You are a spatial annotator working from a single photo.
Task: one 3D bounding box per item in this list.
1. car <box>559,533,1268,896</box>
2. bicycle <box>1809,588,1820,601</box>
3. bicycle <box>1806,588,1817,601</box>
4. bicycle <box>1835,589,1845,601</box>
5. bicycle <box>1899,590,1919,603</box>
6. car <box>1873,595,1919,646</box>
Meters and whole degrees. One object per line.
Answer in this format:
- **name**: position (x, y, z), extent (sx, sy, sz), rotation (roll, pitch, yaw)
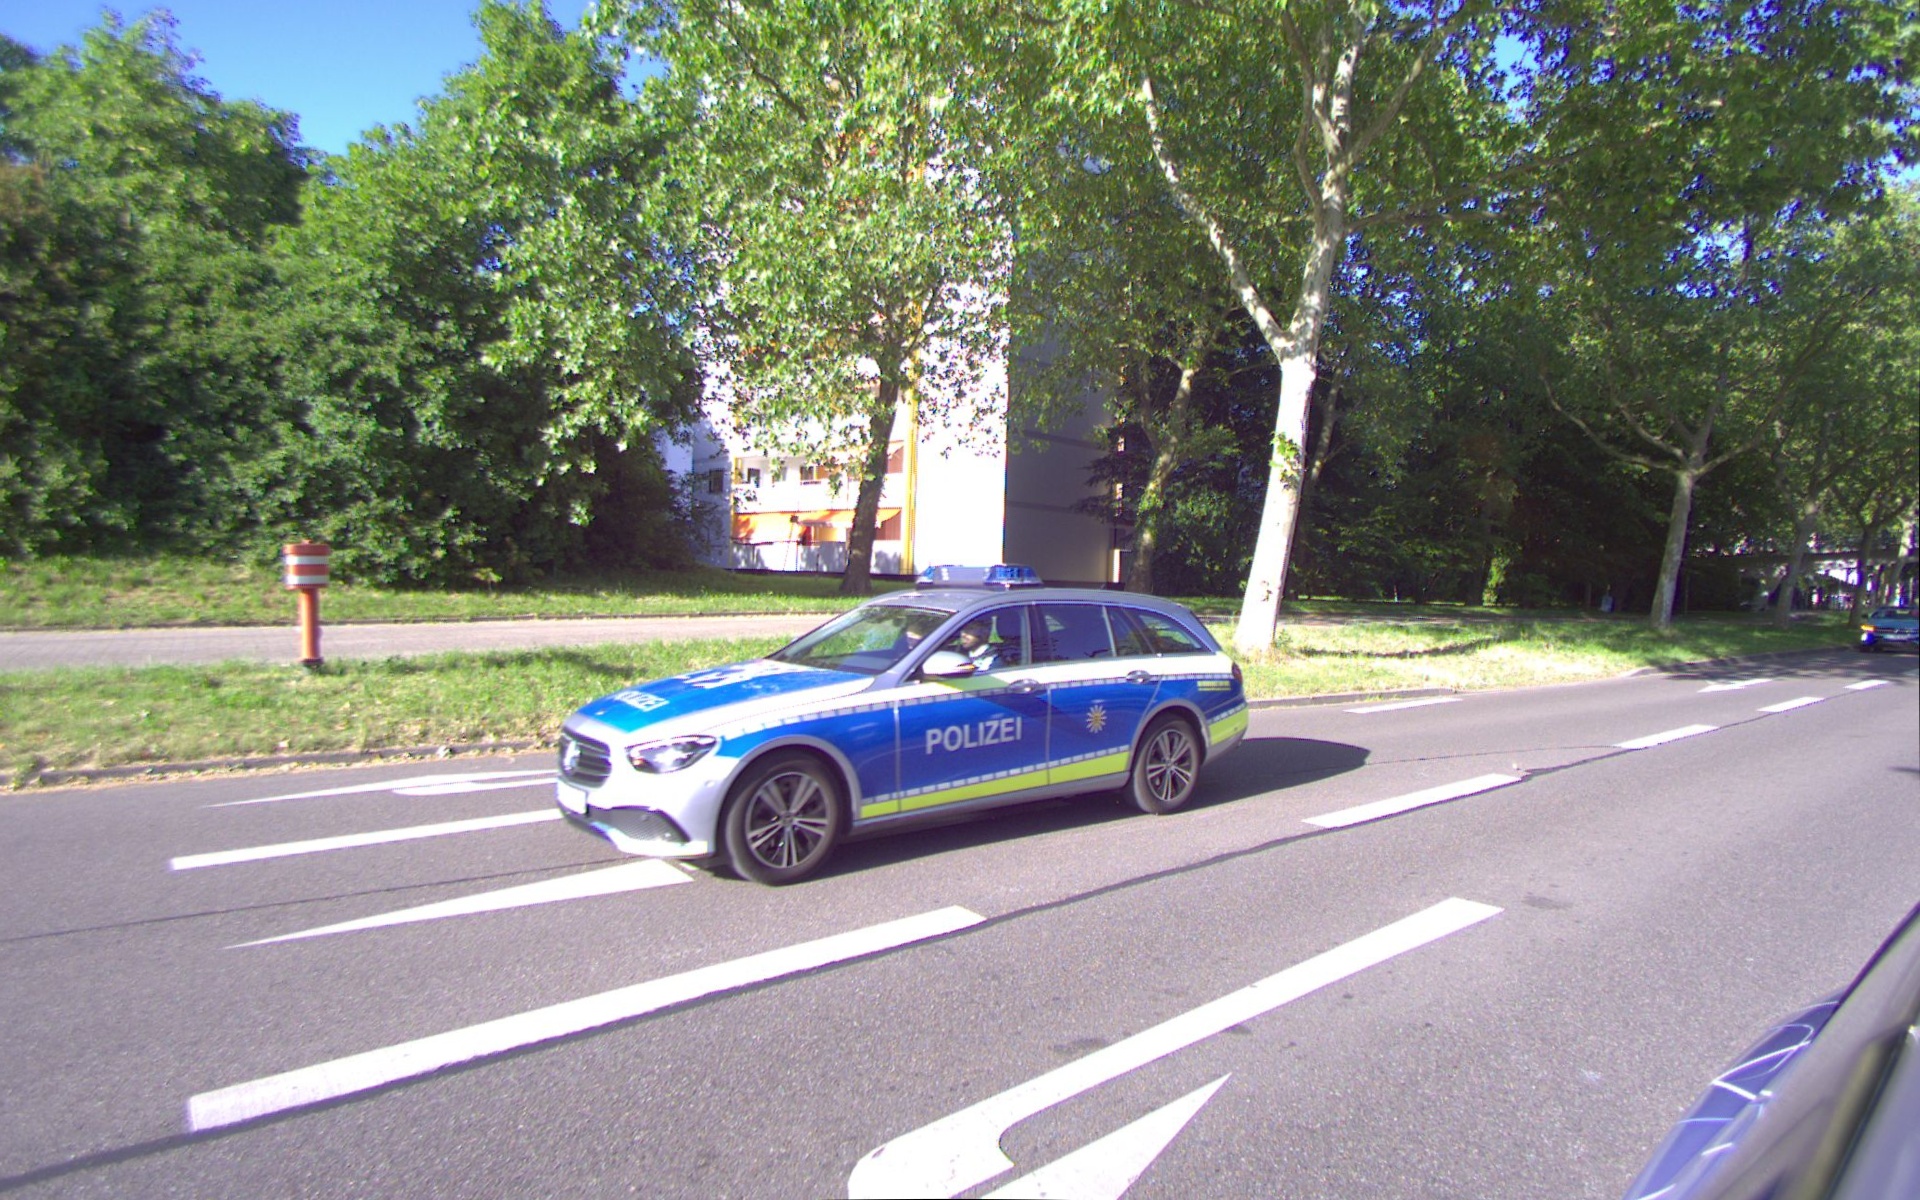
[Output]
- **car**: position (-0.102, 0.519, 6.722), extent (4.418, 1.653, 1.898), rotation (1, 1, -38)
- **bicycle**: position (87.625, -0.585, 103.796), extent (1.775, 1.269, 0.576), rotation (0, 1, -42)
- **bicycle**: position (86.162, -0.569, 102.368), extent (1.775, 1.269, 0.576), rotation (0, 1, -42)
- **bicycle**: position (93.231, -0.511, 107.210), extent (1.775, 1.269, 0.576), rotation (0, 1, -42)
- **bicycle**: position (94.816, -0.303, 100.553), extent (2.064, 1.172, 0.554), rotation (4, 3, 40)
- **car**: position (29.891, 0.634, 31.409), extent (4.027, 1.502, 1.779), rotation (1, 0, -40)
